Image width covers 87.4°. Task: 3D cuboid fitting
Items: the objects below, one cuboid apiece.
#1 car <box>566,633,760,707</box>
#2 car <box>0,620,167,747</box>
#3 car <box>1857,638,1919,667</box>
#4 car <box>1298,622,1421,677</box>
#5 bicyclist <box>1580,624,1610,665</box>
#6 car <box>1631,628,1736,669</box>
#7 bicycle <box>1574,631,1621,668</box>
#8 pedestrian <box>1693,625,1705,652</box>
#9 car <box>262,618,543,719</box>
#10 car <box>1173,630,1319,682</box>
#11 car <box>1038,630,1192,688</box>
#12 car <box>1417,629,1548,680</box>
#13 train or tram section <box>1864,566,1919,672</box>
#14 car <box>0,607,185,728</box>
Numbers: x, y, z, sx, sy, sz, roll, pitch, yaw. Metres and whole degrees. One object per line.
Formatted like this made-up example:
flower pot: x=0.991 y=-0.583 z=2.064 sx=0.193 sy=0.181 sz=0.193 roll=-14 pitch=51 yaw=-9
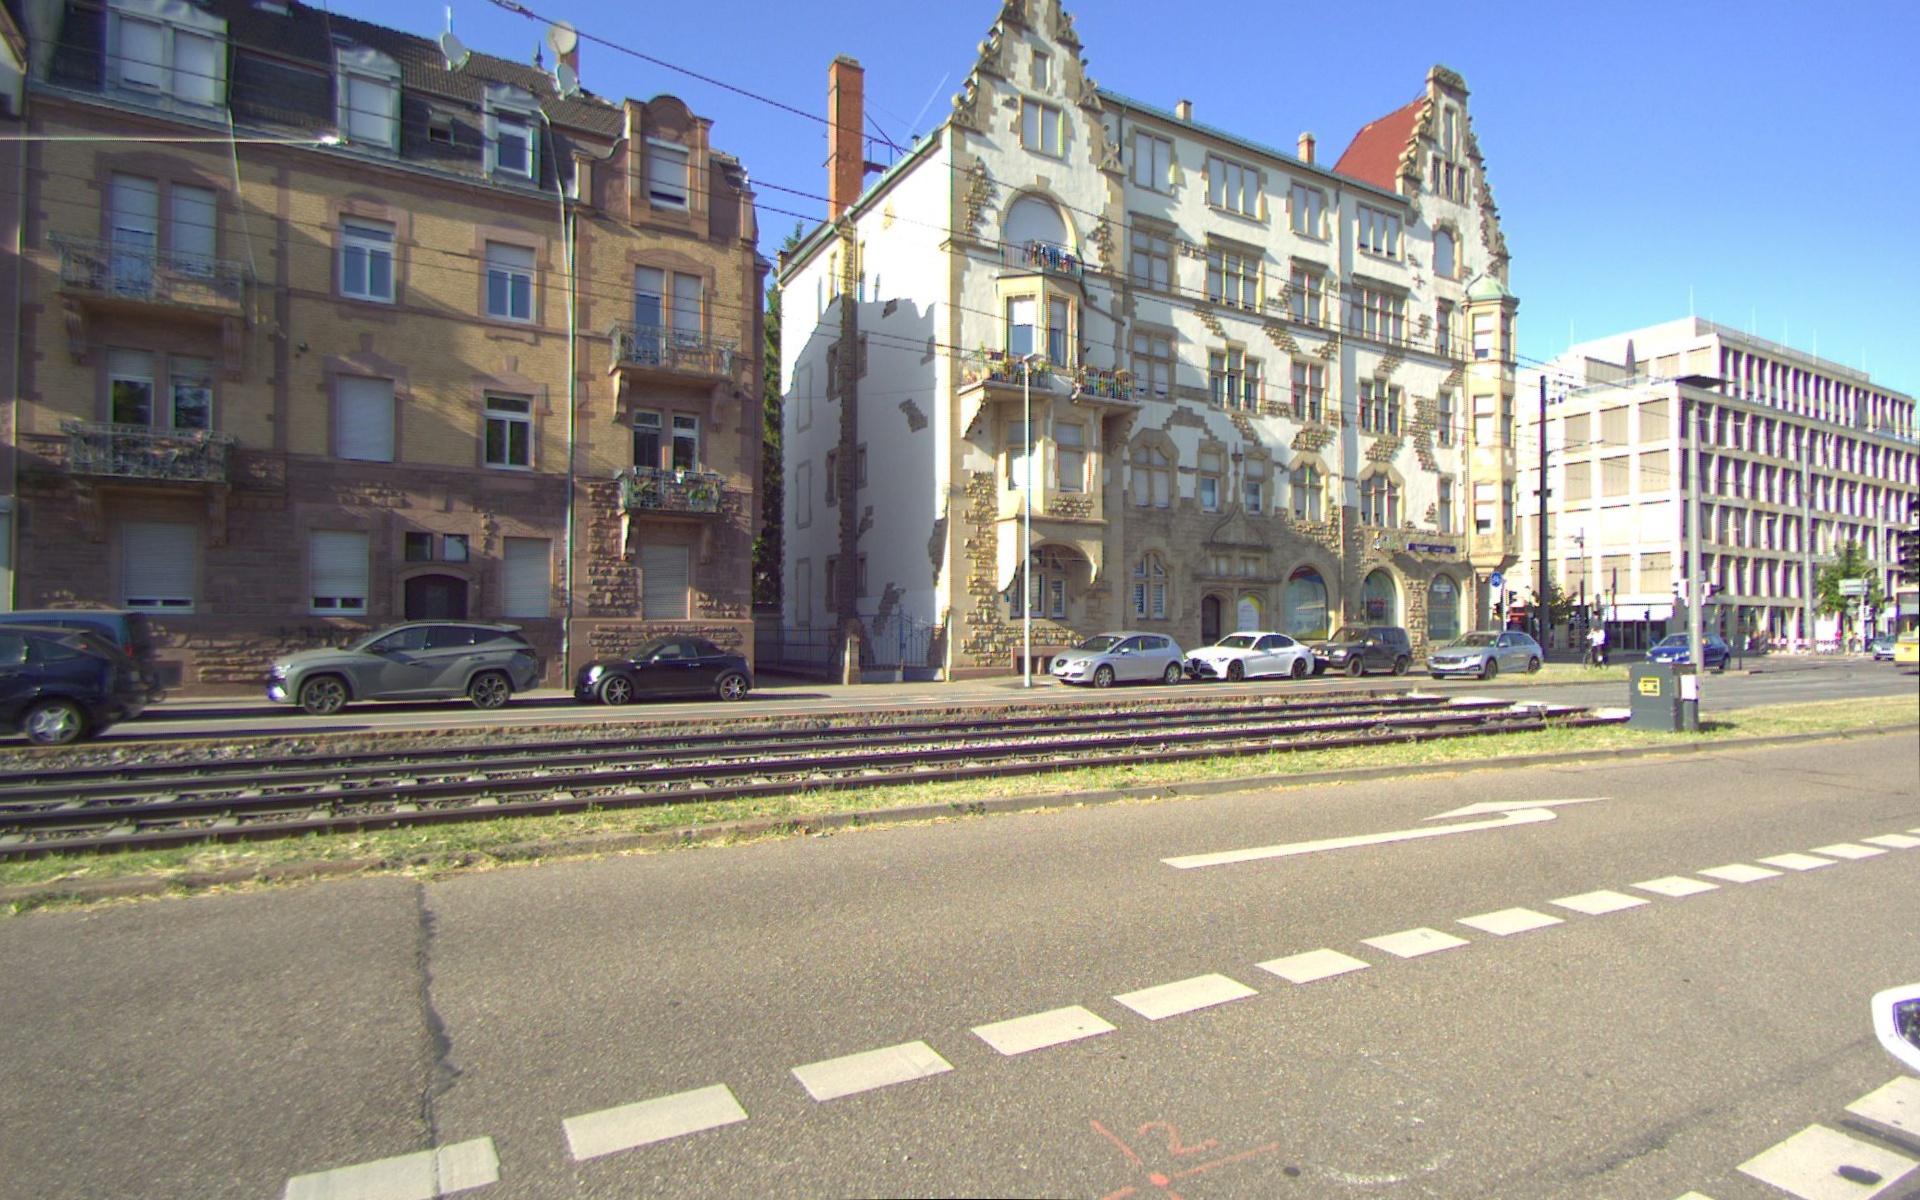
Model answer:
car: x=-6.311 y=1.434 z=21.441 sx=3.684 sy=1.373 sz=1.614 roll=1 pitch=1 yaw=-31
car: x=-12.319 y=0.992 z=12.085 sx=4.118 sy=1.476 sz=1.811 roll=1 pitch=-3 yaw=-31
car: x=50.633 y=2.823 z=54.541 sx=4.112 sy=1.476 sz=1.810 roll=1 pitch=-3 yaw=-33
car: x=13.433 y=1.612 z=33.748 sx=4.170 sy=1.698 sz=1.707 roll=1 pitch=0 yaw=-32
bicyclist: x=24.740 y=1.745 z=39.134 sx=0.776 sy=1.583 sz=0.682 roll=1 pitch=-2 yaw=-29
car: x=27.220 y=1.806 z=37.755 sx=4.112 sy=1.476 sz=1.810 roll=1 pitch=-3 yaw=-33
bicycle: x=24.897 y=1.930 z=39.220 sx=1.923 sy=1.400 sz=0.682 roll=1 pitch=-2 yaw=-29
pedestrian: x=51.255 y=2.652 z=69.684 sx=0.522 sy=1.867 sz=0.443 roll=-1 pitch=-2 yaw=22
car: x=-10.440 y=1.209 z=19.045 sx=4.452 sy=1.644 sz=1.846 roll=1 pitch=1 yaw=-31
car: x=8.847 y=1.667 z=30.945 sx=4.604 sy=1.442 sz=1.707 roll=1 pitch=0 yaw=-32
car: x=4.346 y=1.582 z=27.949 sx=4.178 sy=1.450 sz=1.699 roll=1 pitch=0 yaw=-33
car: x=16.055 y=1.643 z=30.809 sx=4.498 sy=1.476 sz=1.807 roll=2 pitch=-3 yaw=-37
train or tram section: x=37.780 y=0.742 z=37.029 sx=13.049 sy=3.535 sz=2.800 roll=1 pitch=-2 yaw=-31
car: x=-15.292 y=1.032 z=16.004 sx=4.362 sy=1.782 sz=1.878 roll=1 pitch=1 yaw=-28
